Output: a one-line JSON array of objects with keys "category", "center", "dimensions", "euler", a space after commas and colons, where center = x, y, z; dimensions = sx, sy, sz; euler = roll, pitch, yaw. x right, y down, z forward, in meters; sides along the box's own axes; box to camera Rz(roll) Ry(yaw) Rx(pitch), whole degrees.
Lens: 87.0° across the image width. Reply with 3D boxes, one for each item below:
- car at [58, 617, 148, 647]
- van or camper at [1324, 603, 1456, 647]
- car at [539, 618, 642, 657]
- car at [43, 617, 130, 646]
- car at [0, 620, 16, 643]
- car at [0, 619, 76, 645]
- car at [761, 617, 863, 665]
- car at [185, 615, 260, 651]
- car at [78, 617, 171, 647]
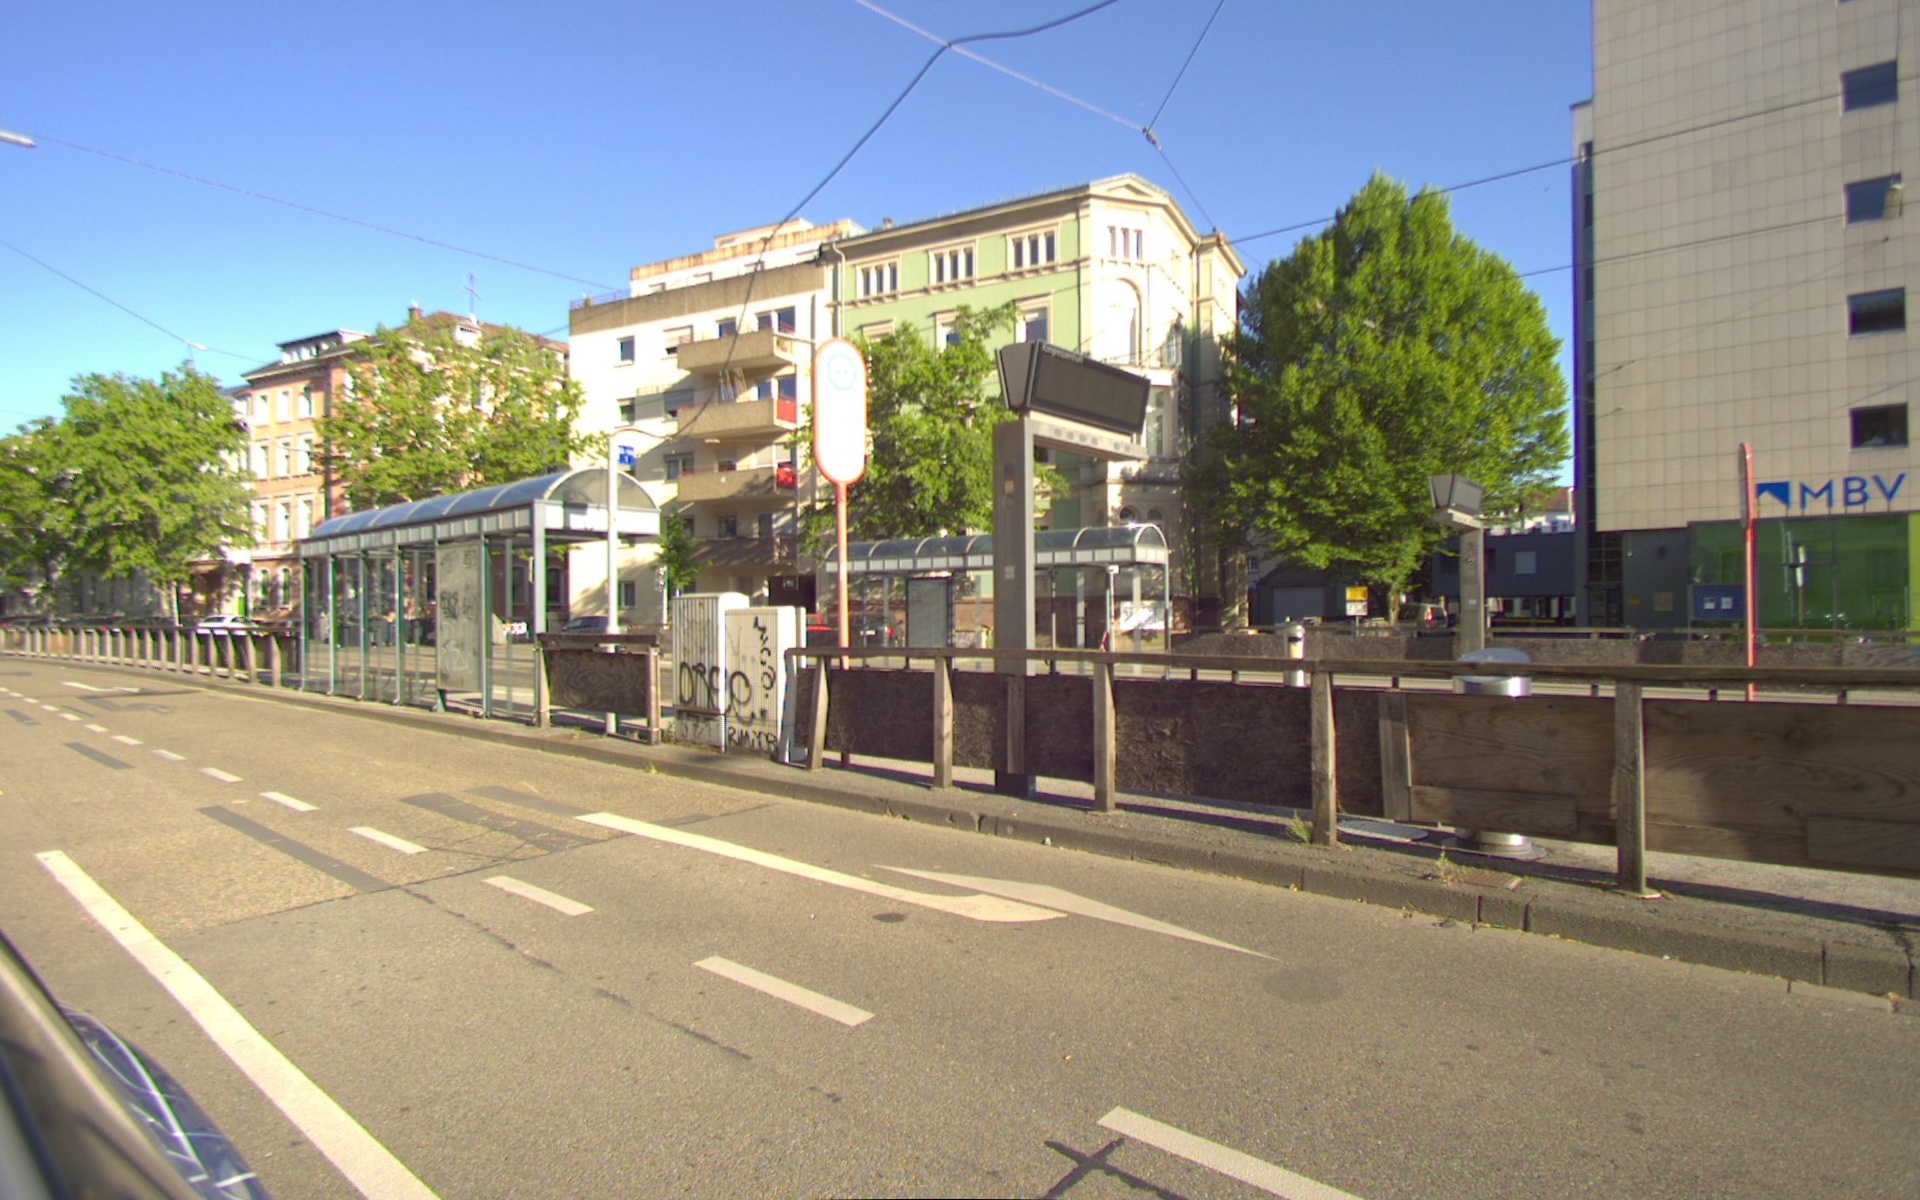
[{"category": "car", "center": [-51.302, 1.886, 60.641], "dimensions": [2.001, 1.697, 3.942], "euler": [-2, -2, 44]}, {"category": "van or camper", "center": [15.497, 0.883, 36.557], "dimensions": [3.998, 1.417, 1.943], "euler": [2, 0, 41]}, {"category": "car", "center": [-14.011, 1.412, 38.406], "dimensions": [3.498, 1.406, 1.602], "euler": [-1, -2, 22]}, {"category": "car", "center": [-54.309, 1.932, 62.970], "dimensions": [2.001, 1.697, 3.942], "euler": [-2, -2, 44]}, {"category": "car", "center": [-68.108, 2.190, 70.126], "dimensions": [2.001, 1.604, 3.812], "euler": [-2, -2, 44]}, {"category": "car", "center": [-59.618, 2.057, 65.281], "dimensions": [3.811, 1.604, 2.001], "euler": [1, -2, -45]}, {"category": "car", "center": [-5.010, 1.363, 34.701], "dimensions": [1.763, 1.547, 3.763], "euler": [-1, -2, 23]}, {"category": "car", "center": [-39.530, 1.751, 54.386], "dimensions": [1.966, 1.736, 4.012], "euler": [0, 1, -15]}, {"category": "car", "center": [-47.985, 1.823, 58.168], "dimensions": [2.001, 1.697, 3.942], "euler": [-2, -2, 44]}]
